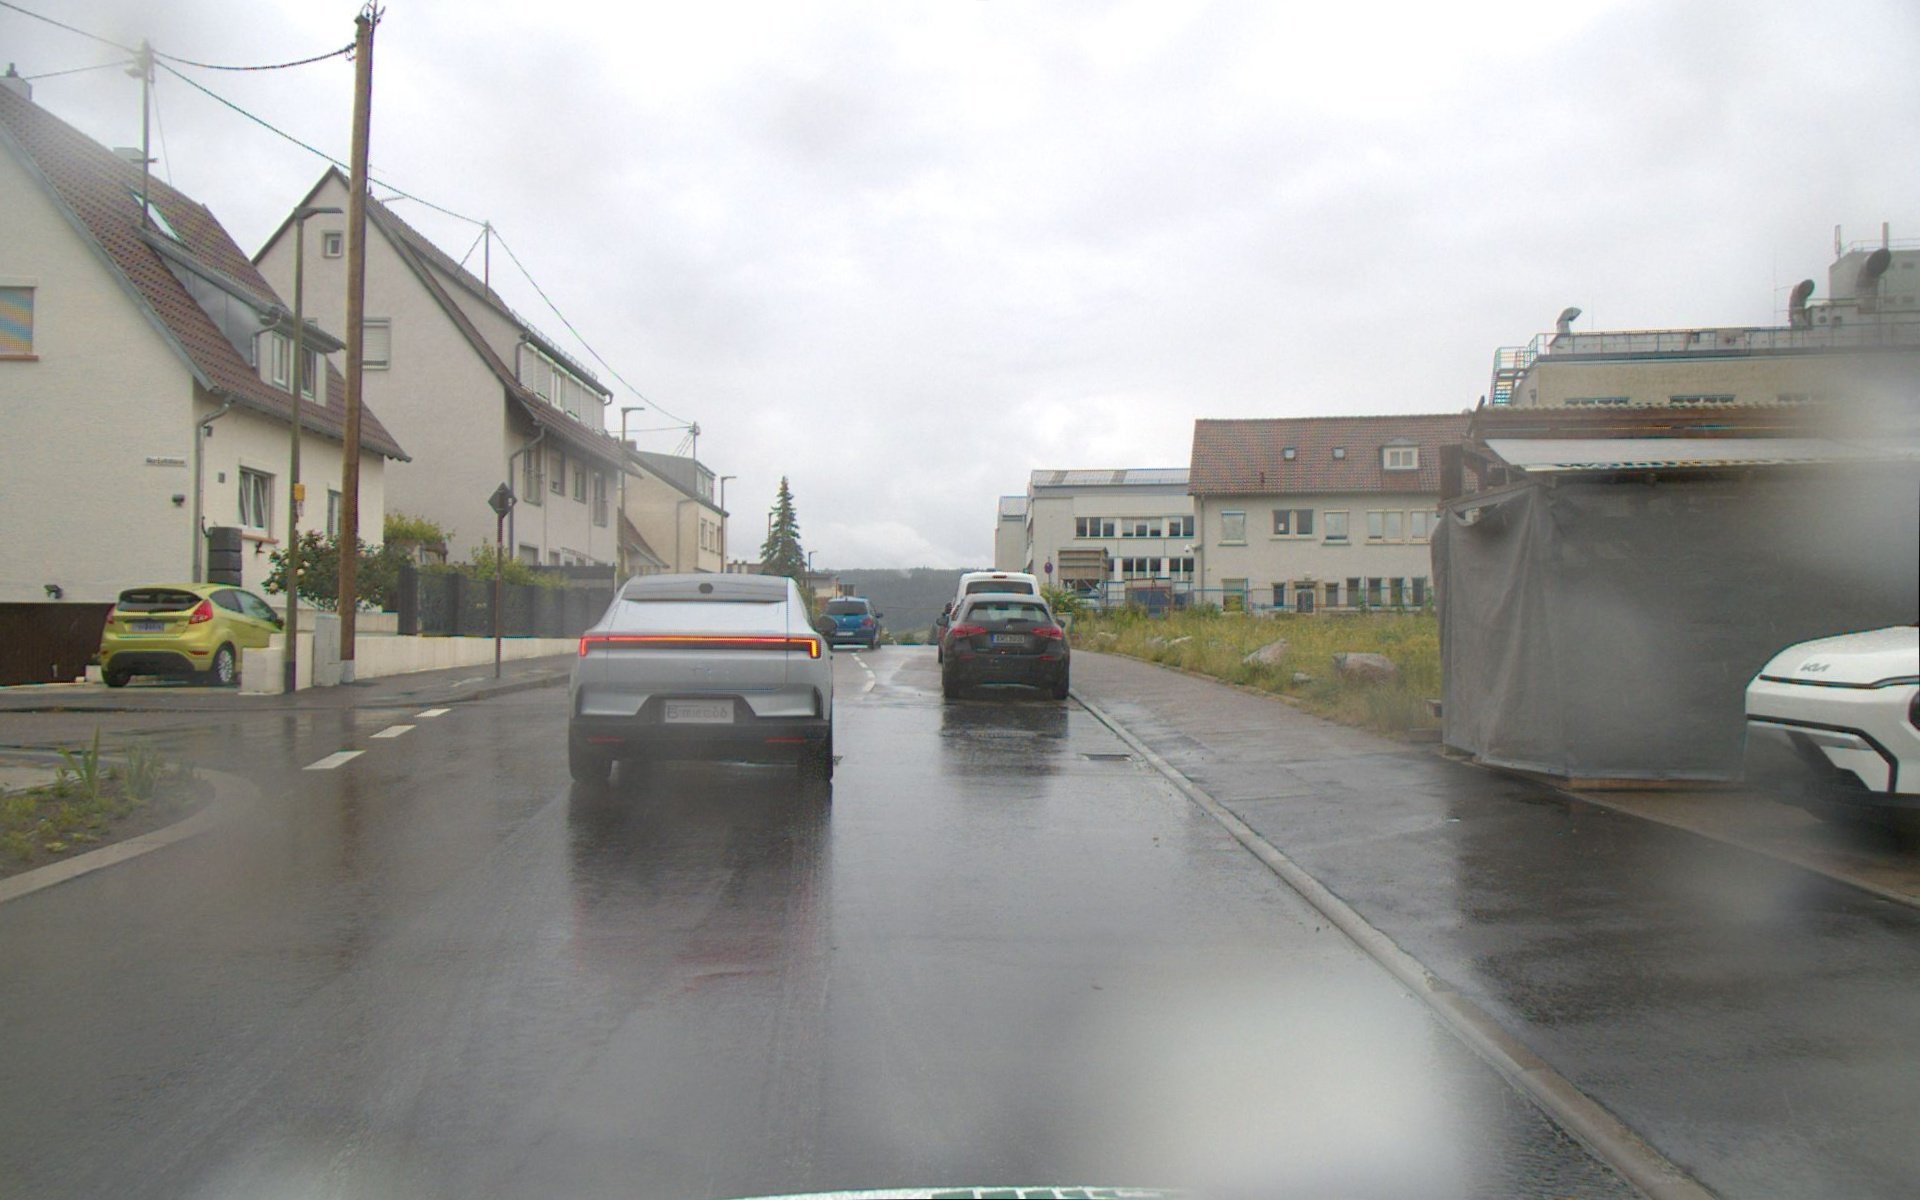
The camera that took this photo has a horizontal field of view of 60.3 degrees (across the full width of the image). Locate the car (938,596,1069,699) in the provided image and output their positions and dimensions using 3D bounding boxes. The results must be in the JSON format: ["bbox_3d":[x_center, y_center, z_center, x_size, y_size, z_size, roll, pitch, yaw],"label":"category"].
[{"bbox_3d":[0.563,0.658,24.487,1.733,1.359,4.320,1,0,-1],"label":"car"}]

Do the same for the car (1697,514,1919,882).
[{"bbox_3d":[6.247,0.386,8.411,4.132,1.638,1.860,-2,-1,-2],"label":"car"}]

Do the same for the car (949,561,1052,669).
[{"bbox_3d":[0.689,0.276,31.182,1.733,1.857,4.573,1,0,-1],"label":"car"}]

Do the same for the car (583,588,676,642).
[{"bbox_3d":[-10.506,0.497,52.977,1.953,1.536,4.894,3,-1,-1],"label":"car"}]

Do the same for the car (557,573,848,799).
[{"bbox_3d":[-1.934,0.597,13.590,1.954,1.528,4.665,0,0,-5],"label":"car"}]

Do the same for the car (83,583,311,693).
[{"bbox_3d":[-11.159,0.561,24.448,1.742,1.493,3.456,0,-1,0],"label":"car"}]

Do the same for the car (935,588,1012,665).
[{"bbox_3d":[0.271,0.583,37.601,1.609,1.602,4.643,1,0,0],"label":"car"}]
